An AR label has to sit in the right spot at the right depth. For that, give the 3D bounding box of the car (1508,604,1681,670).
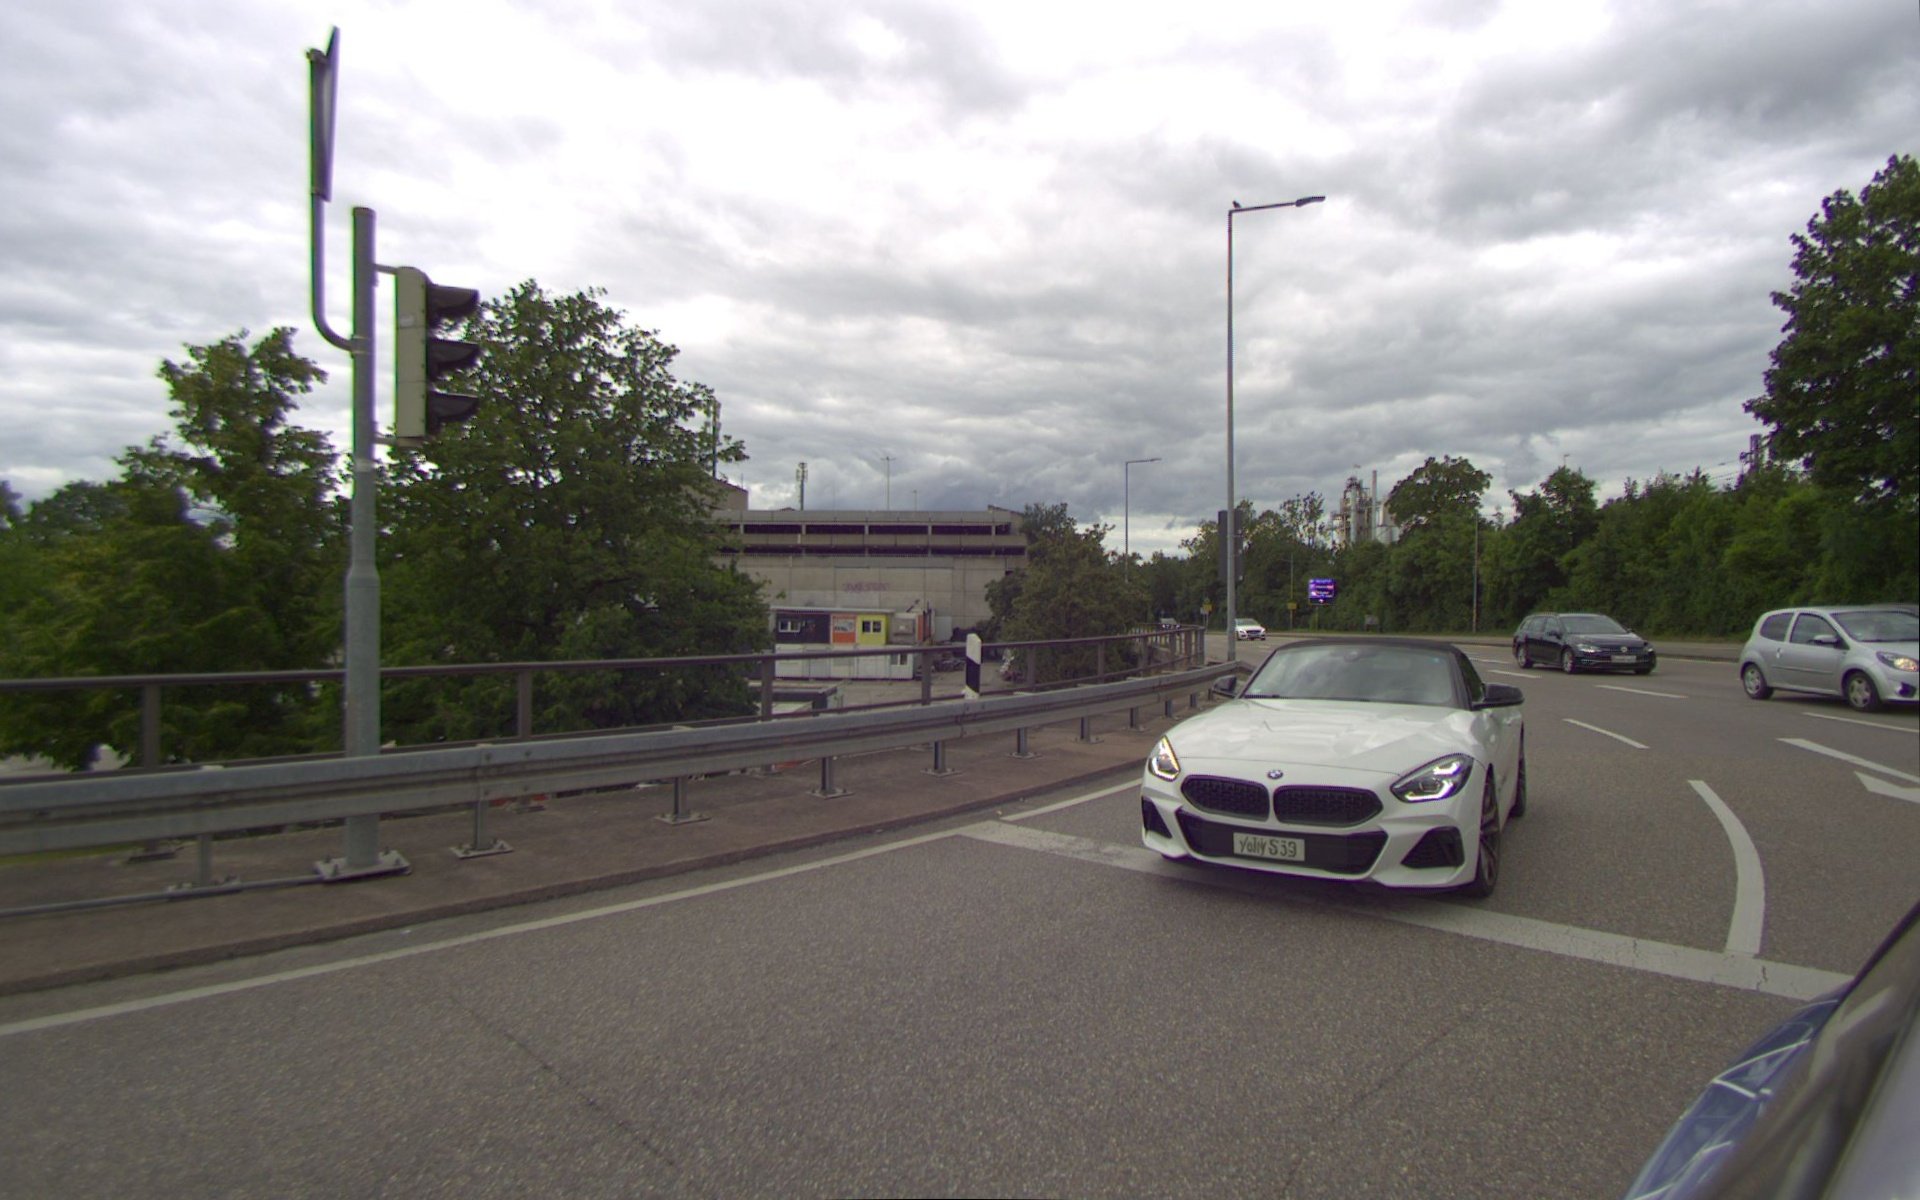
[{"bbox_3d":[15.325,0.871,24.753,1.834,1.434,4.329,-1,-1,6],"label":"car"}]

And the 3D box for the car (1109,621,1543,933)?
[{"bbox_3d":[2.715,0.848,6.768,1.797,1.308,4.213,-2,-1,33],"label":"car"}]

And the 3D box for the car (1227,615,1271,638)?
[{"bbox_3d":[19.029,1.734,66.783,1.832,1.434,4.333,-1,-1,3],"label":"car"}]

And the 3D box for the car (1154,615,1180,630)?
[{"bbox_3d":[20.197,2.200,98.751,1.832,1.434,4.333,-1,-1,3],"label":"car"}]

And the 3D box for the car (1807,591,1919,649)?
[{"bbox_3d":[25.699,0.540,27.393,1.922,1.476,4.612,-1,-1,6],"label":"car"}]

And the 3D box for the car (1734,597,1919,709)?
[{"bbox_3d":[13.181,0.695,14.614,1.583,1.434,3.581,-1,-1,8],"label":"car"}]
